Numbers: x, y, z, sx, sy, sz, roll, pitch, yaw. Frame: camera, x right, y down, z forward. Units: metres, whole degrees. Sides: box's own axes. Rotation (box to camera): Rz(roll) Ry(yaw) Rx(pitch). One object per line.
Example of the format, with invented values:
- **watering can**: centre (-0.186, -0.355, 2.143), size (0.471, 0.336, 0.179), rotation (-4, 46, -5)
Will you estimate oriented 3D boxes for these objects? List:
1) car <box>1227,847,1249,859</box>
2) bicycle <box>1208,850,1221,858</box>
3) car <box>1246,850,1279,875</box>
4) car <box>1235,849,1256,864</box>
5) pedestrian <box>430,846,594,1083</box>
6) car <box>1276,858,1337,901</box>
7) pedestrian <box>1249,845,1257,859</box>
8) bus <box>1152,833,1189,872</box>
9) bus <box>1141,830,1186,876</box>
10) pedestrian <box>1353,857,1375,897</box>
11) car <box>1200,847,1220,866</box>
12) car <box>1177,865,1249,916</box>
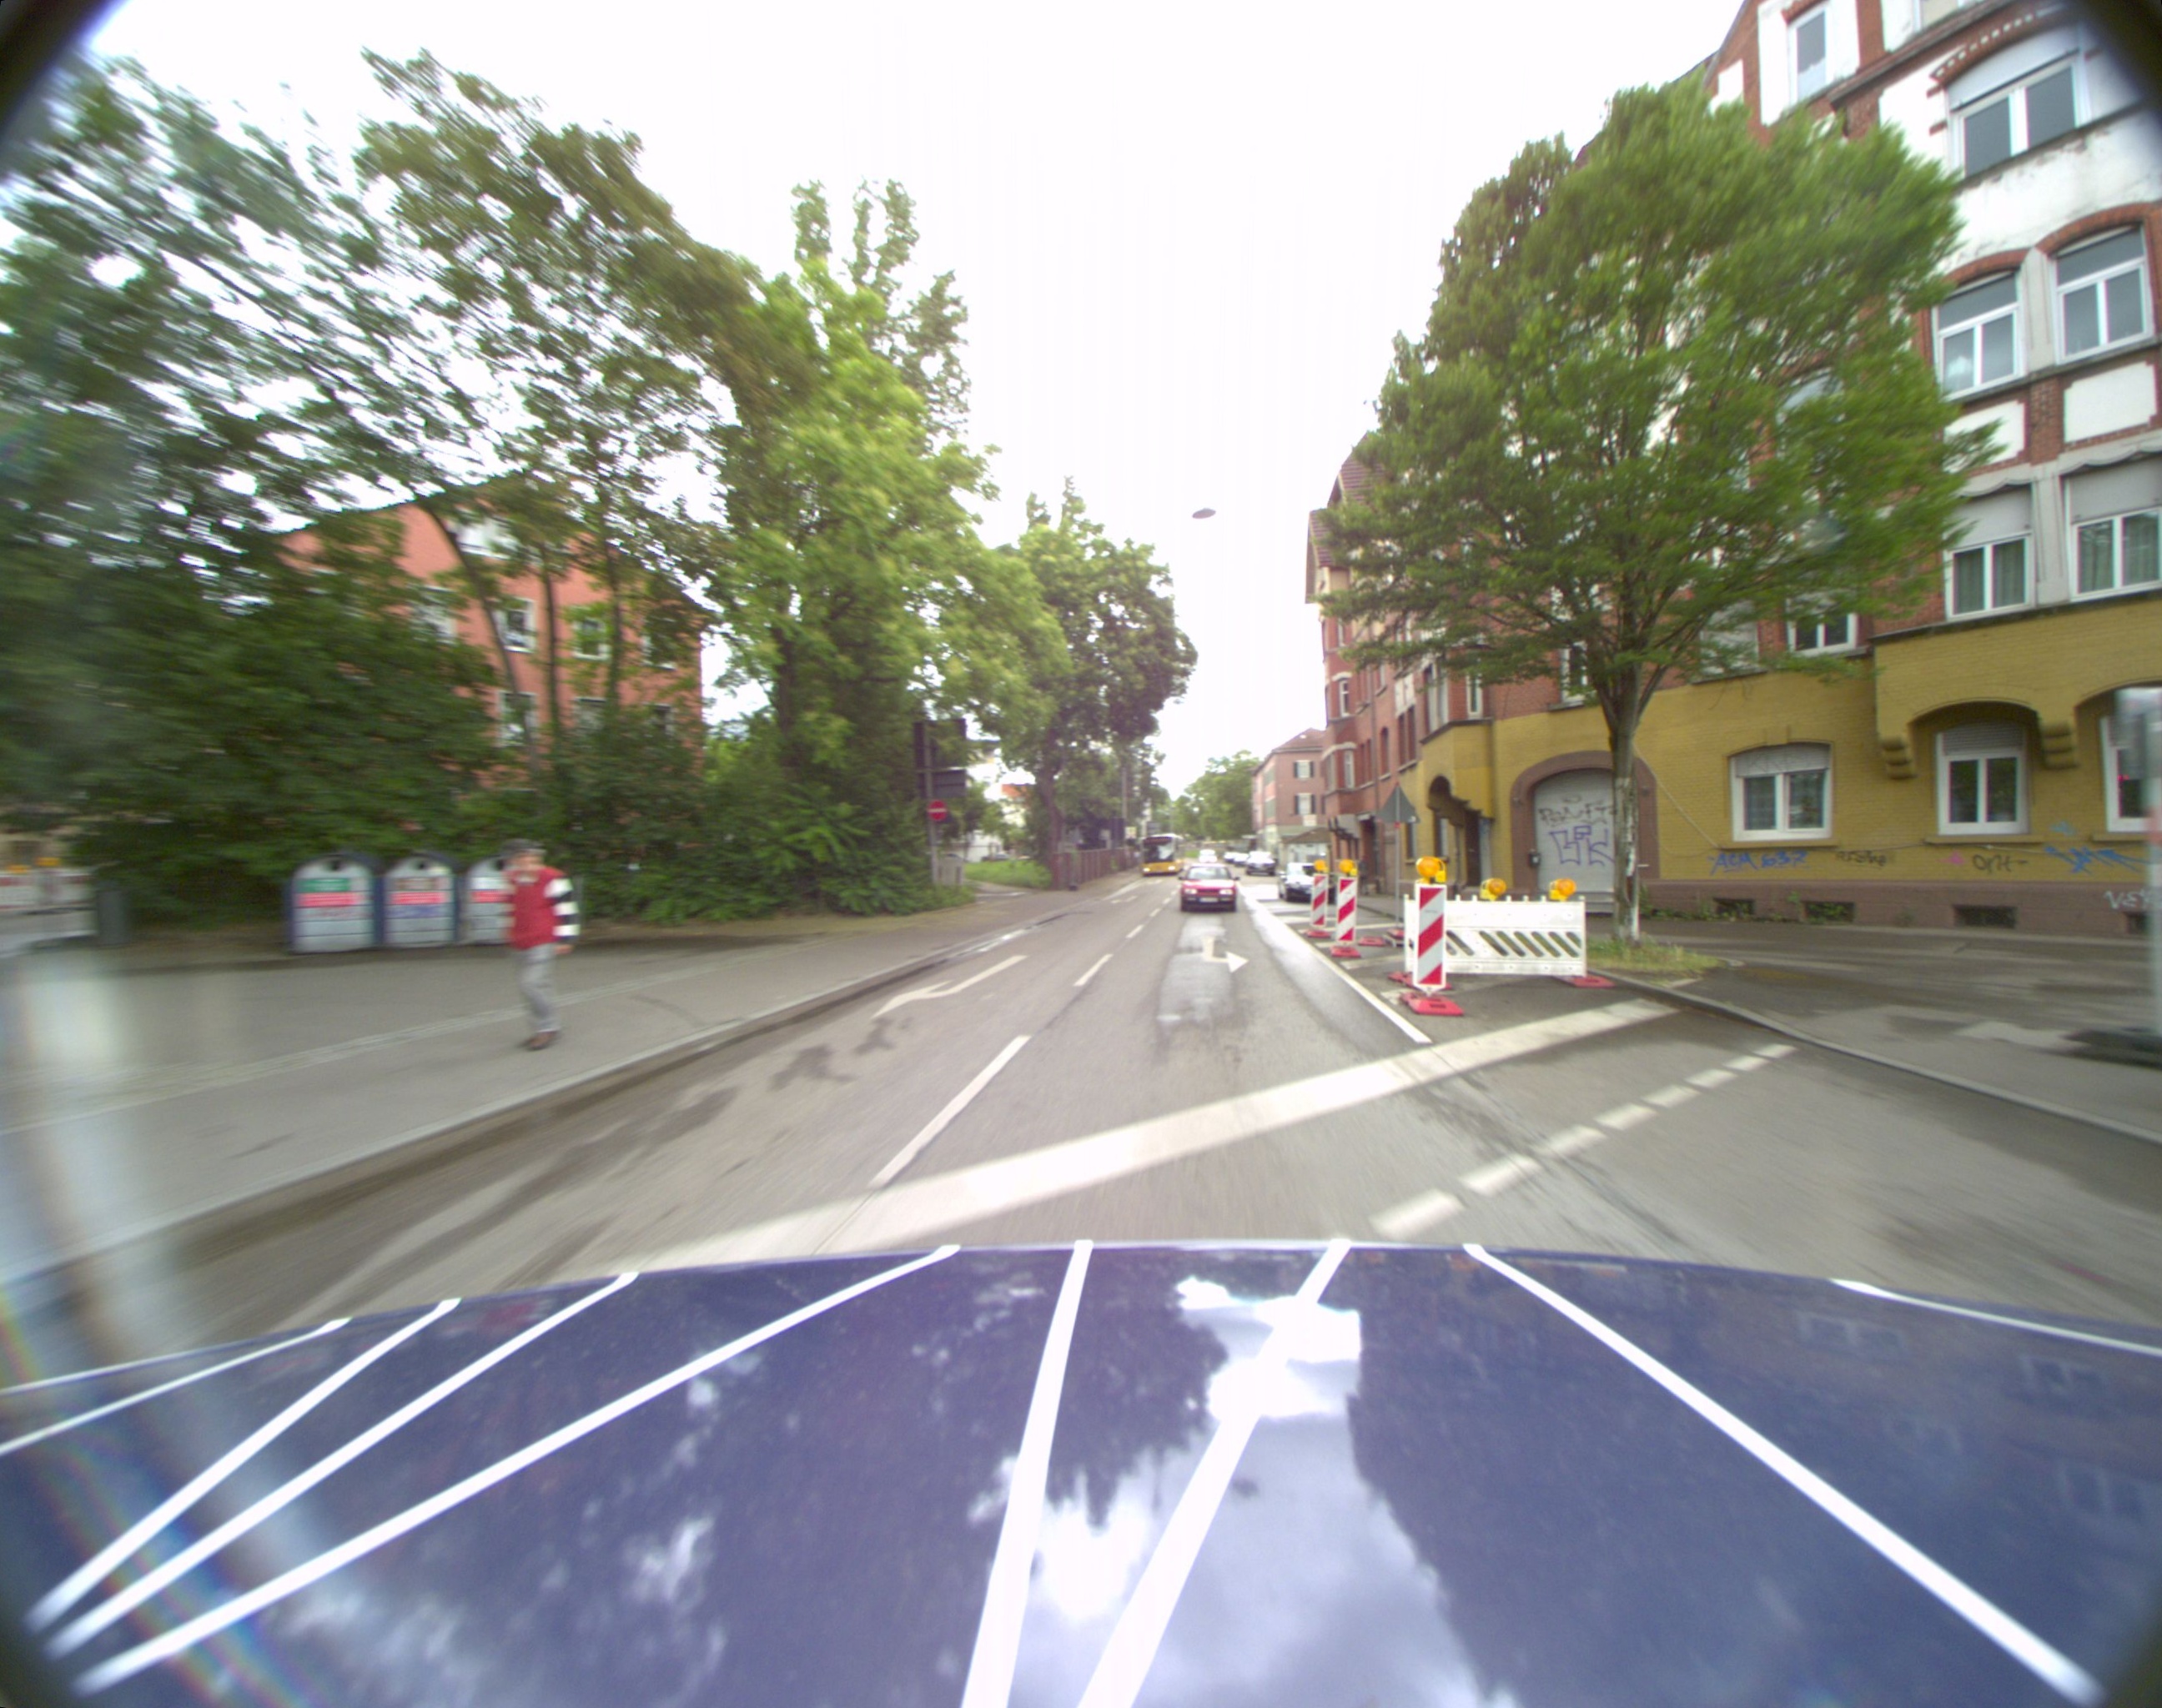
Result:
- **car**: centre (20.254, -0.152, 98.269), size (1.833, 1.446, 4.920), rotation (-1, 1, 1)
- **bicycle**: centre (21.637, -0.072, 123.008), size (1.808, 1.170, 0.723), rotation (-4, 2, -16)
- **car**: centre (13.087, 0.571, 54.987), size (1.957, 1.723, 4.777), rotation (-1, 0, 9)
- **car**: centre (17.709, 0.252, 81.822), size (1.881, 1.477, 4.129), rotation (-3, 1, 9)
- **pedestrian**: centre (-4.710, 0.862, 6.332), size (0.781, 1.820, 0.728), rotation (2, 1, 10)
- **car**: centre (8.530, 0.962, 29.044), size (1.728, 1.477, 4.395), rotation (-2, -1, 11)
- **pedestrian**: centre (22.227, -0.277, 98.115), size (0.762, 1.733, 0.985), rotation (-3, 0, 7)
- **bus**: centre (8.121, -0.204, 68.096), size (2.667, 3.118, 10.046), rotation (-3, 0, 10)
- **bus**: centre (6.497, -0.106, 58.584), size (2.676, 3.120, 9.223), rotation (-3, 0, 10)
- **pedestrian**: centre (11.607, 0.920, 31.136), size (0.661, 1.600, 0.633), rotation (-3, 0, 10)
- **car**: centre (14.592, 0.260, 85.916), size (2.071, 1.776, 4.458), rotation (-3, 4, 10)
- **car**: centre (4.030, 1.070, 23.794), size (1.849, 1.414, 4.175), rotation (0, 0, 5)
